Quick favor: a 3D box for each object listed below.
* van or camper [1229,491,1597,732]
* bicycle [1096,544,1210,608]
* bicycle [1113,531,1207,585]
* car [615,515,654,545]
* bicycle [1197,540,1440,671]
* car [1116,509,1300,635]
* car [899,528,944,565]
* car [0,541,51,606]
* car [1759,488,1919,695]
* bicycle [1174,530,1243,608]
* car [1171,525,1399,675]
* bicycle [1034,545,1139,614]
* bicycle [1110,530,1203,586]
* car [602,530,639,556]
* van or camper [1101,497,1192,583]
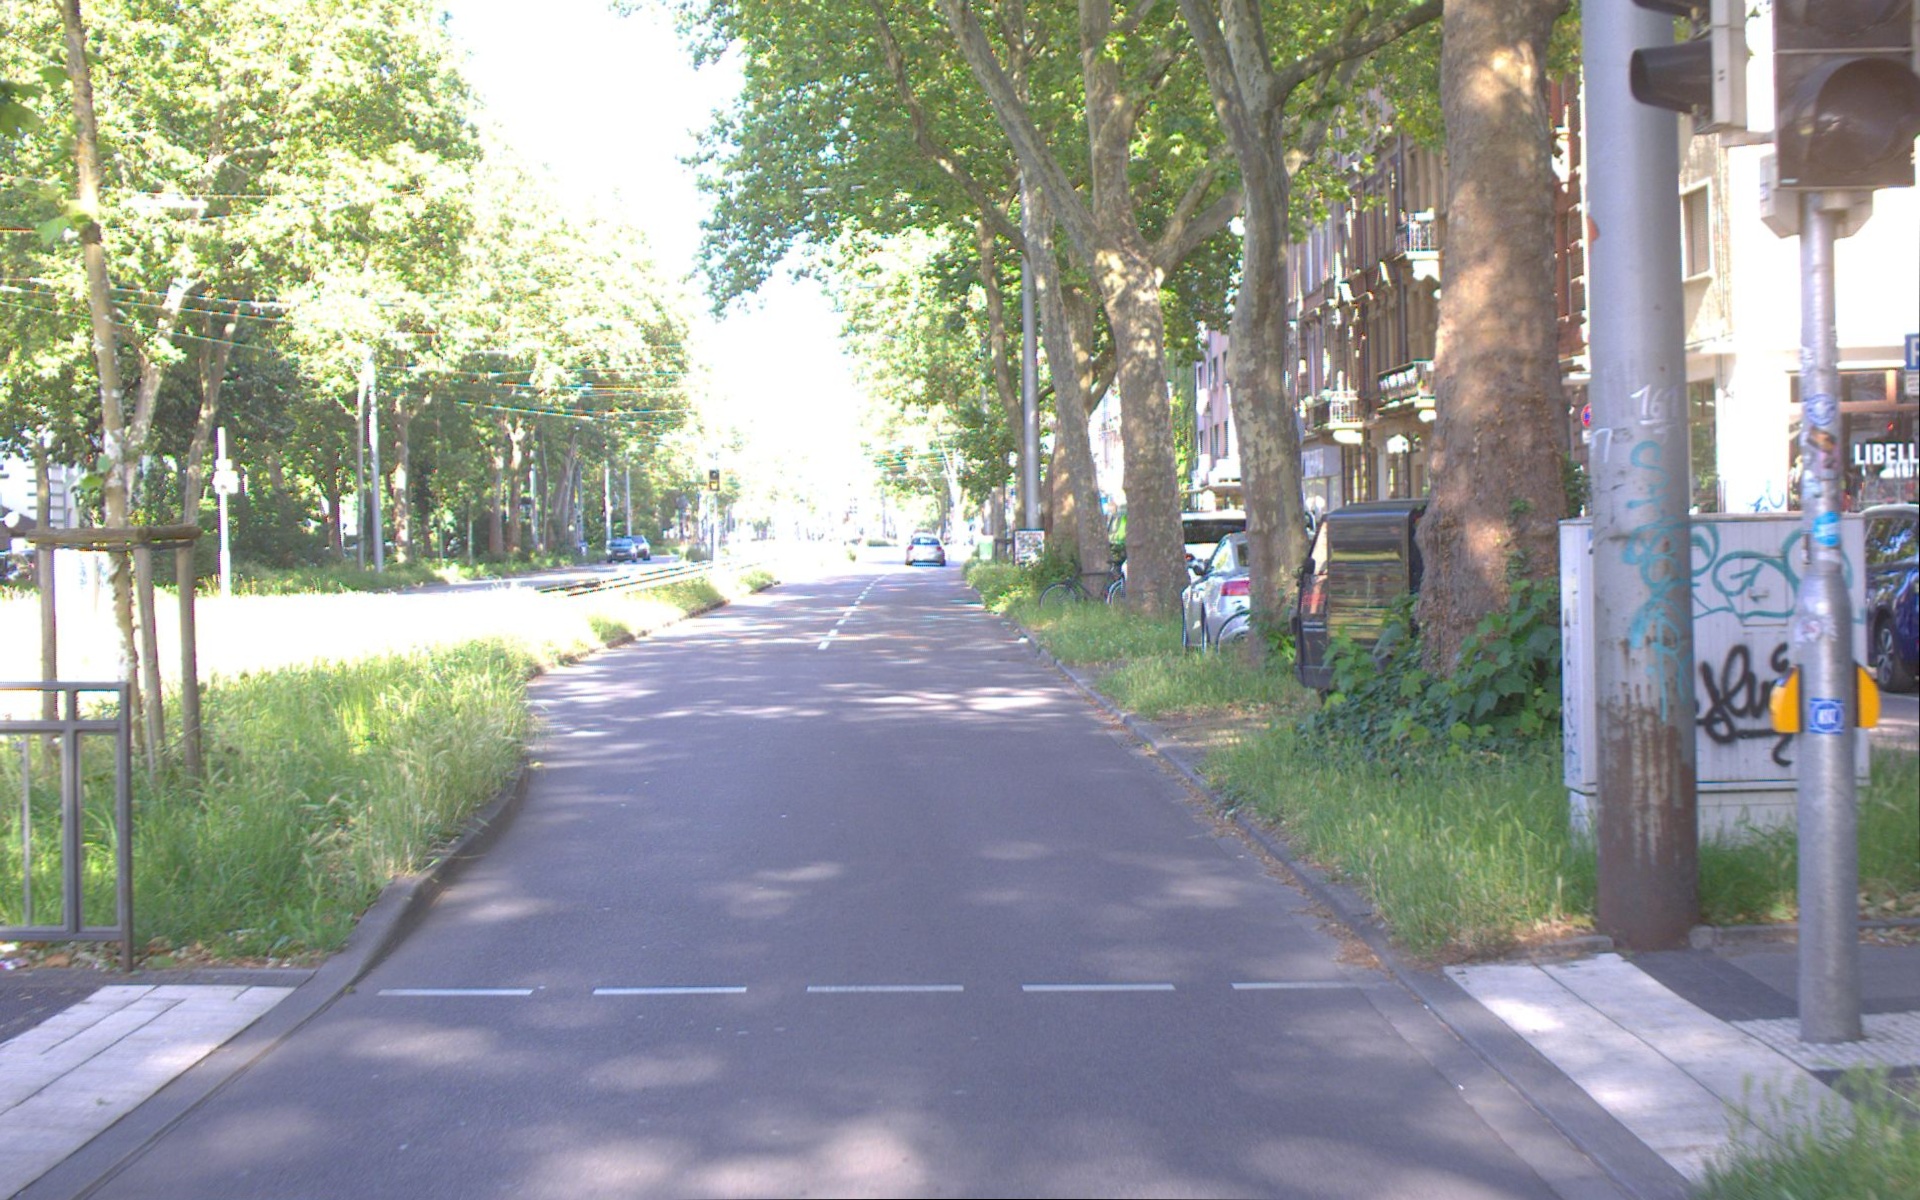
[{"bbox_3d":[3.159,0.047,24.403,1.500,1.582,2.841,-1,1,-18],"label":"van or camper"},{"bbox_3d":[2.929,-0.367,52.011,1.759,0.924,0.654,-2,1,-42],"label":"bicycle"},{"bbox_3d":[4.757,-1.007,81.974,2.164,1.290,0.983,0,1,0],"label":"bicycle"},{"bbox_3d":[-21.350,-4.604,225.533,1.993,1.864,4.873,-3,1,0],"label":"car"},{"bbox_3d":[3.192,0.045,30.736,2.070,1.120,0.677,-1,1,-2],"label":"bicycle"},{"bbox_3d":[3.397,-0.427,47.984,1.902,1.630,4.825,-1,1,-3],"label":"car"},{"bbox_3d":[-1.768,-2.442,157.223,2.021,1.656,4.000,-1,1,-1],"label":"car"},{"bbox_3d":[-28.169,-0.787,100.438,2.108,1.802,4.739,-1,1,-3],"label":"car"},{"bbox_3d":[8.839,-0.136,31.342,1.819,1.736,5.168,-1,1,-1],"label":"car"},{"bbox_3d":[3.047,-0.392,42.278,0.639,0.922,2.165,-1,1,-1],"label":"bicycle"},{"bbox_3d":[3.220,-0.051,34.952,1.753,1.393,5.026,-1,1,-1],"label":"car"},{"bbox_3d":[1.992,-0.321,54.112,1.594,1.055,0.404,-1,1,6],"label":"bicycle"},{"bbox_3d":[4.617,-0.990,80.823,2.164,1.290,0.983,0,1,2],"label":"bicycle"},{"bbox_3d":[-20.993,-3.532,212.687,1.795,1.503,4.339,-4,1,0],"label":"car"},{"bbox_3d":[4.735,-1.532,87.939,1.833,2.090,4.775,2,1,-2],"label":"van or camper"}]
